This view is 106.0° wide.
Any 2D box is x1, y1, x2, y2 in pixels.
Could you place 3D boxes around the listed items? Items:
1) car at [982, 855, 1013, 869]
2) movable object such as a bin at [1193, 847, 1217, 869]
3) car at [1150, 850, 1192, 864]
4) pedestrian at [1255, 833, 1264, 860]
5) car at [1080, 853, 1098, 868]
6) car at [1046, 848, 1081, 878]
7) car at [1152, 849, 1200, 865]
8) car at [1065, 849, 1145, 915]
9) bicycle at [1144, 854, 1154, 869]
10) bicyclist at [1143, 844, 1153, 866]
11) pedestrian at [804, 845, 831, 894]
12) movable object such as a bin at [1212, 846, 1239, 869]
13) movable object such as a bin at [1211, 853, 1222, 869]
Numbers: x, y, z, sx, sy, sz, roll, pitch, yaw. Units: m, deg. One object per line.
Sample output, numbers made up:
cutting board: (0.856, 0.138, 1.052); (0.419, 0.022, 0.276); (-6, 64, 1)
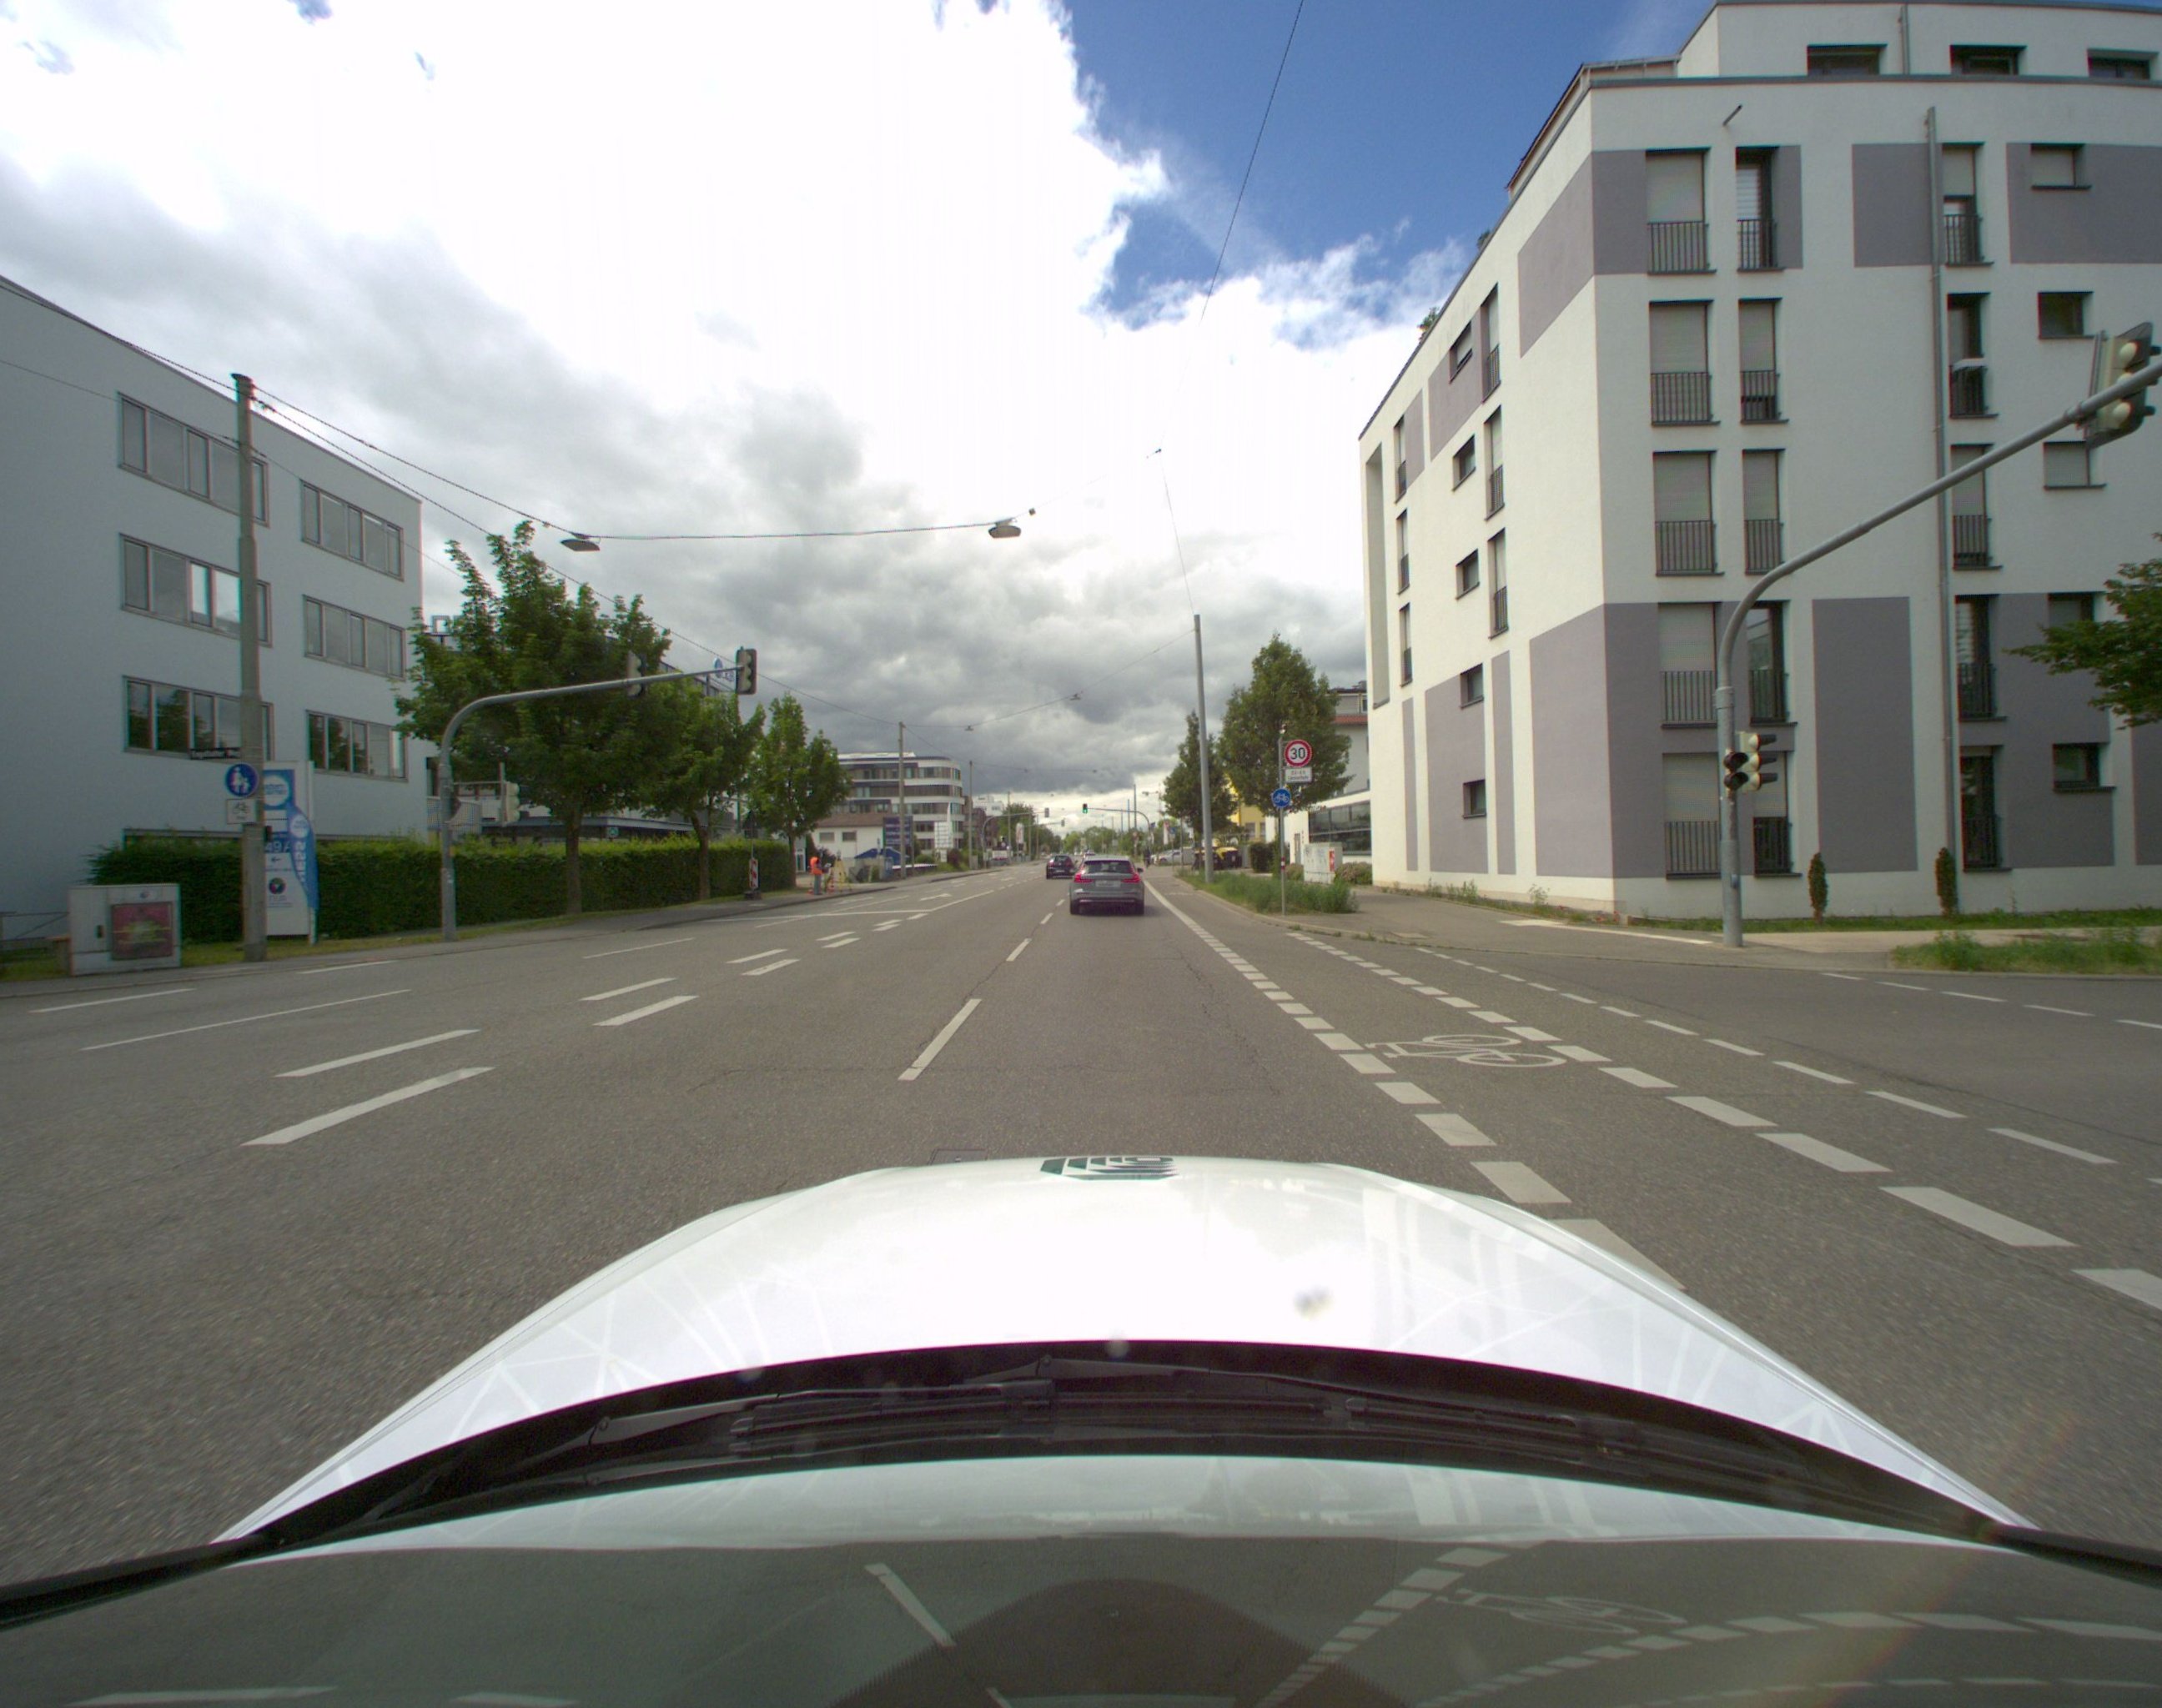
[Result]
car: (-11.620, 1.081, 113.746); (4.088, 1.397, 1.904); (-7, 1, -6)
movable object such as a bin: (8.141, 0.273, 53.485); (1.308, 1.361, 1.257); (-2, -1, 18)
car: (9.782, 0.310, 88.292); (4.355, 1.404, 1.988); (0, 0, 0)
pedestrian: (11.468, -0.480, 52.203); (0.503, 1.765, 0.503); (0, -1, 18)
car: (0.946, 0.716, 93.233); (1.986, 1.695, 4.000); (0, -1, 1)
car: (-1.000, 0.567, 48.913); (1.987, 1.717, 3.998); (0, -1, -1)
car: (9.614, 0.272, 82.525); (4.680, 1.493, 2.046); (-1, 0, 1)
car: (0.637, 0.685, 21.401); (1.888, 1.554, 4.002); (0, -1, 2)
bicycle: (5.300, 0.589, 63.666); (0.635, 1.063, 1.978); (-5, 0, 2)
bicyclist: (5.258, 0.092, 63.861); (0.635, 1.675, 0.890); (-5, 0, 2)
pedestrian: (-10.964, 0.638, 33.933); (0.717, 2.014, 0.815); (-1, -1, 44)
movable object such as a bin: (9.550, 0.248, 53.745); (1.306, 1.435, 1.259); (-3, -2, 38)
movable object such as a bin: (9.051, 0.482, 54.565); (0.561, 1.026, 0.408); (-3, -2, 38)
